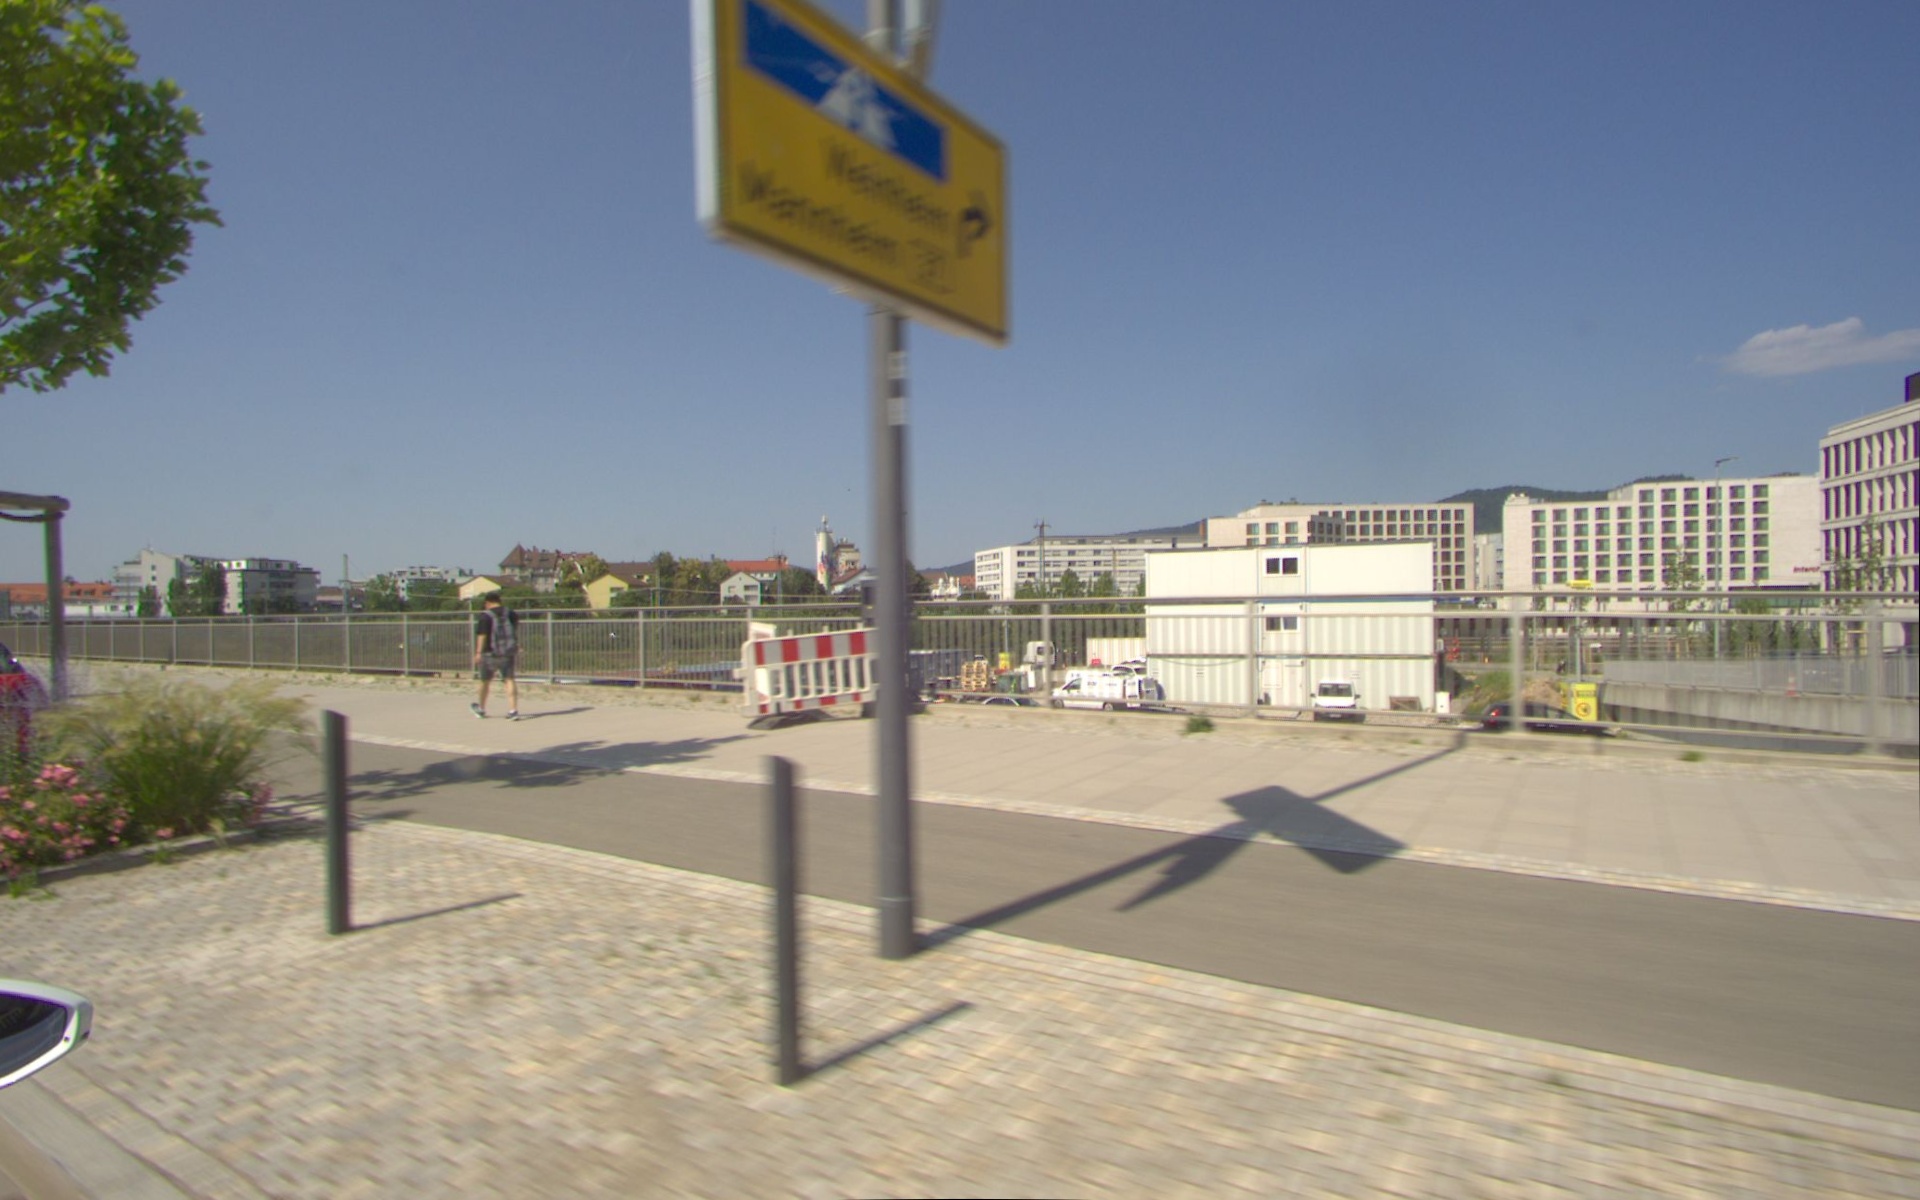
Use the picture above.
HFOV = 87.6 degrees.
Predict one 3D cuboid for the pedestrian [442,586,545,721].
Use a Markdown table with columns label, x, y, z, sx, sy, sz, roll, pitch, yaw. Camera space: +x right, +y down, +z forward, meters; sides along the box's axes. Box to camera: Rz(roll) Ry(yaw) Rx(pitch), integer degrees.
| label | x | y | z | sx | sy | sz | roll | pitch | yaw |
| --- | --- | --- | --- | --- | --- | --- | --- | --- | --- |
| pedestrian | -5.962 | 0.658 | 12.800 | 0.936 | 1.631 | 0.748 | 0 | 3 | 34 |

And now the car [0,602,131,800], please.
| label | x | y | z | sx | sy | sz | roll | pitch | yaw |
| --- | --- | --- | --- | --- | --- | --- | --- | --- | --- |
| car | -9.202 | 0.809 | 8.787 | 3.946 | 1.538 | 1.989 | -1 | -1 | 35 |
